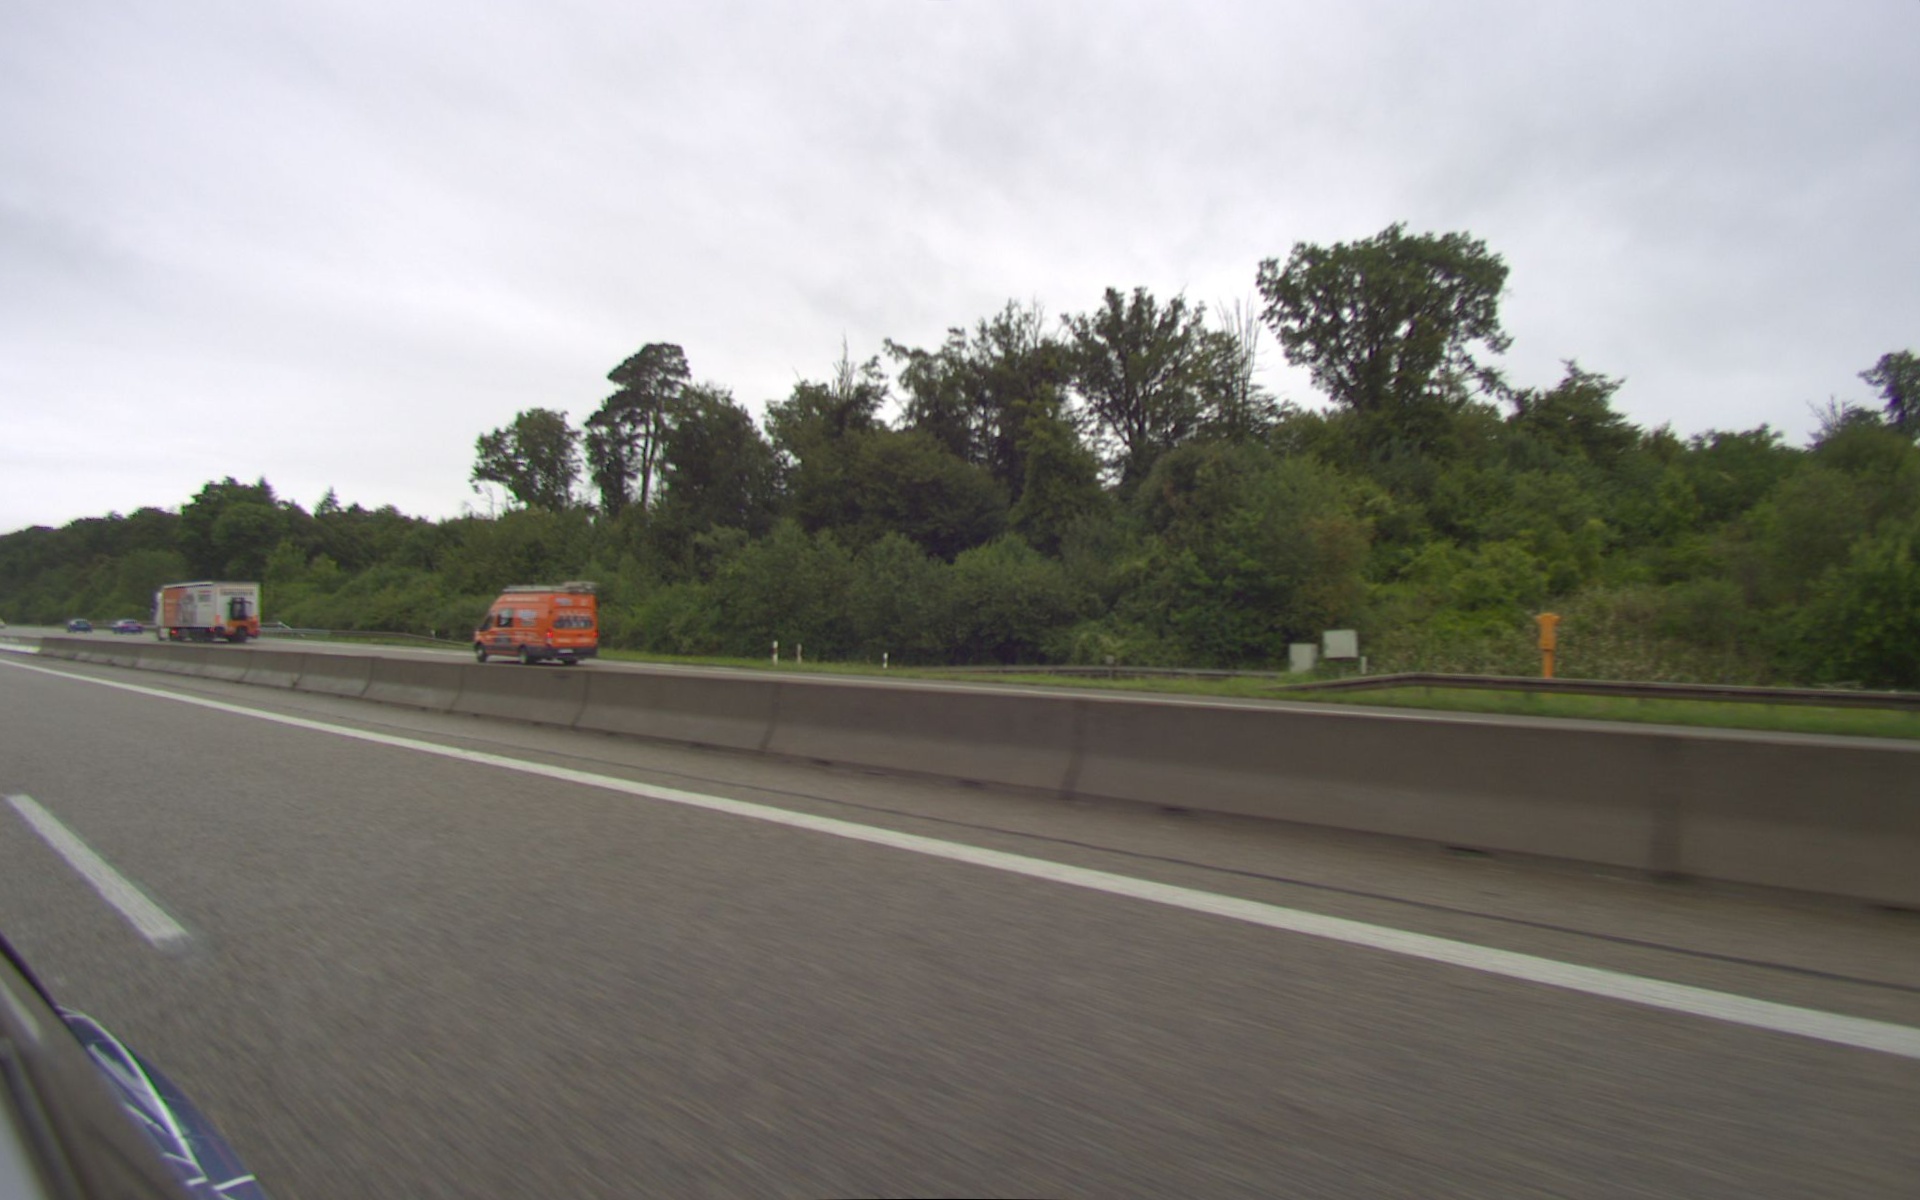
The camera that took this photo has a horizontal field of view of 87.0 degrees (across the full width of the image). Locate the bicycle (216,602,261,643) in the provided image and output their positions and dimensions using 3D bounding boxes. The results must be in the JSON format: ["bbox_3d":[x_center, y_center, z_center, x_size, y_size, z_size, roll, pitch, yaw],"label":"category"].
[{"bbox_3d":[-46.034,1.445,64.578,1.110,2.545,2.171,-1,0,41],"label":"bicycle"}]

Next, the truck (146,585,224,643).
[{"bbox_3d":[-56.594,1.056,73.892,6.462,4.059,3.313,-1,-1,41],"label":"truck"}]

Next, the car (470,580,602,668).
[{"bbox_3d":[-16.140,0.892,38.358,5.972,3.066,2.158,-1,-1,41],"label":"car"}]

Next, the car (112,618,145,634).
[{"bbox_3d":[-84.186,2.610,102.484,3.998,1.630,1.973,-1,-1,41],"label":"car"}]

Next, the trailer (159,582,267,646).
[{"bbox_3d":[-51.185,0.967,69.144,12.604,4.048,3.327,-1,-1,41],"label":"trailer"}]

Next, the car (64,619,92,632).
[{"bbox_3d":[-98.029,2.820,112.484,3.996,1.453,1.693,-1,-2,39],"label":"car"}]
